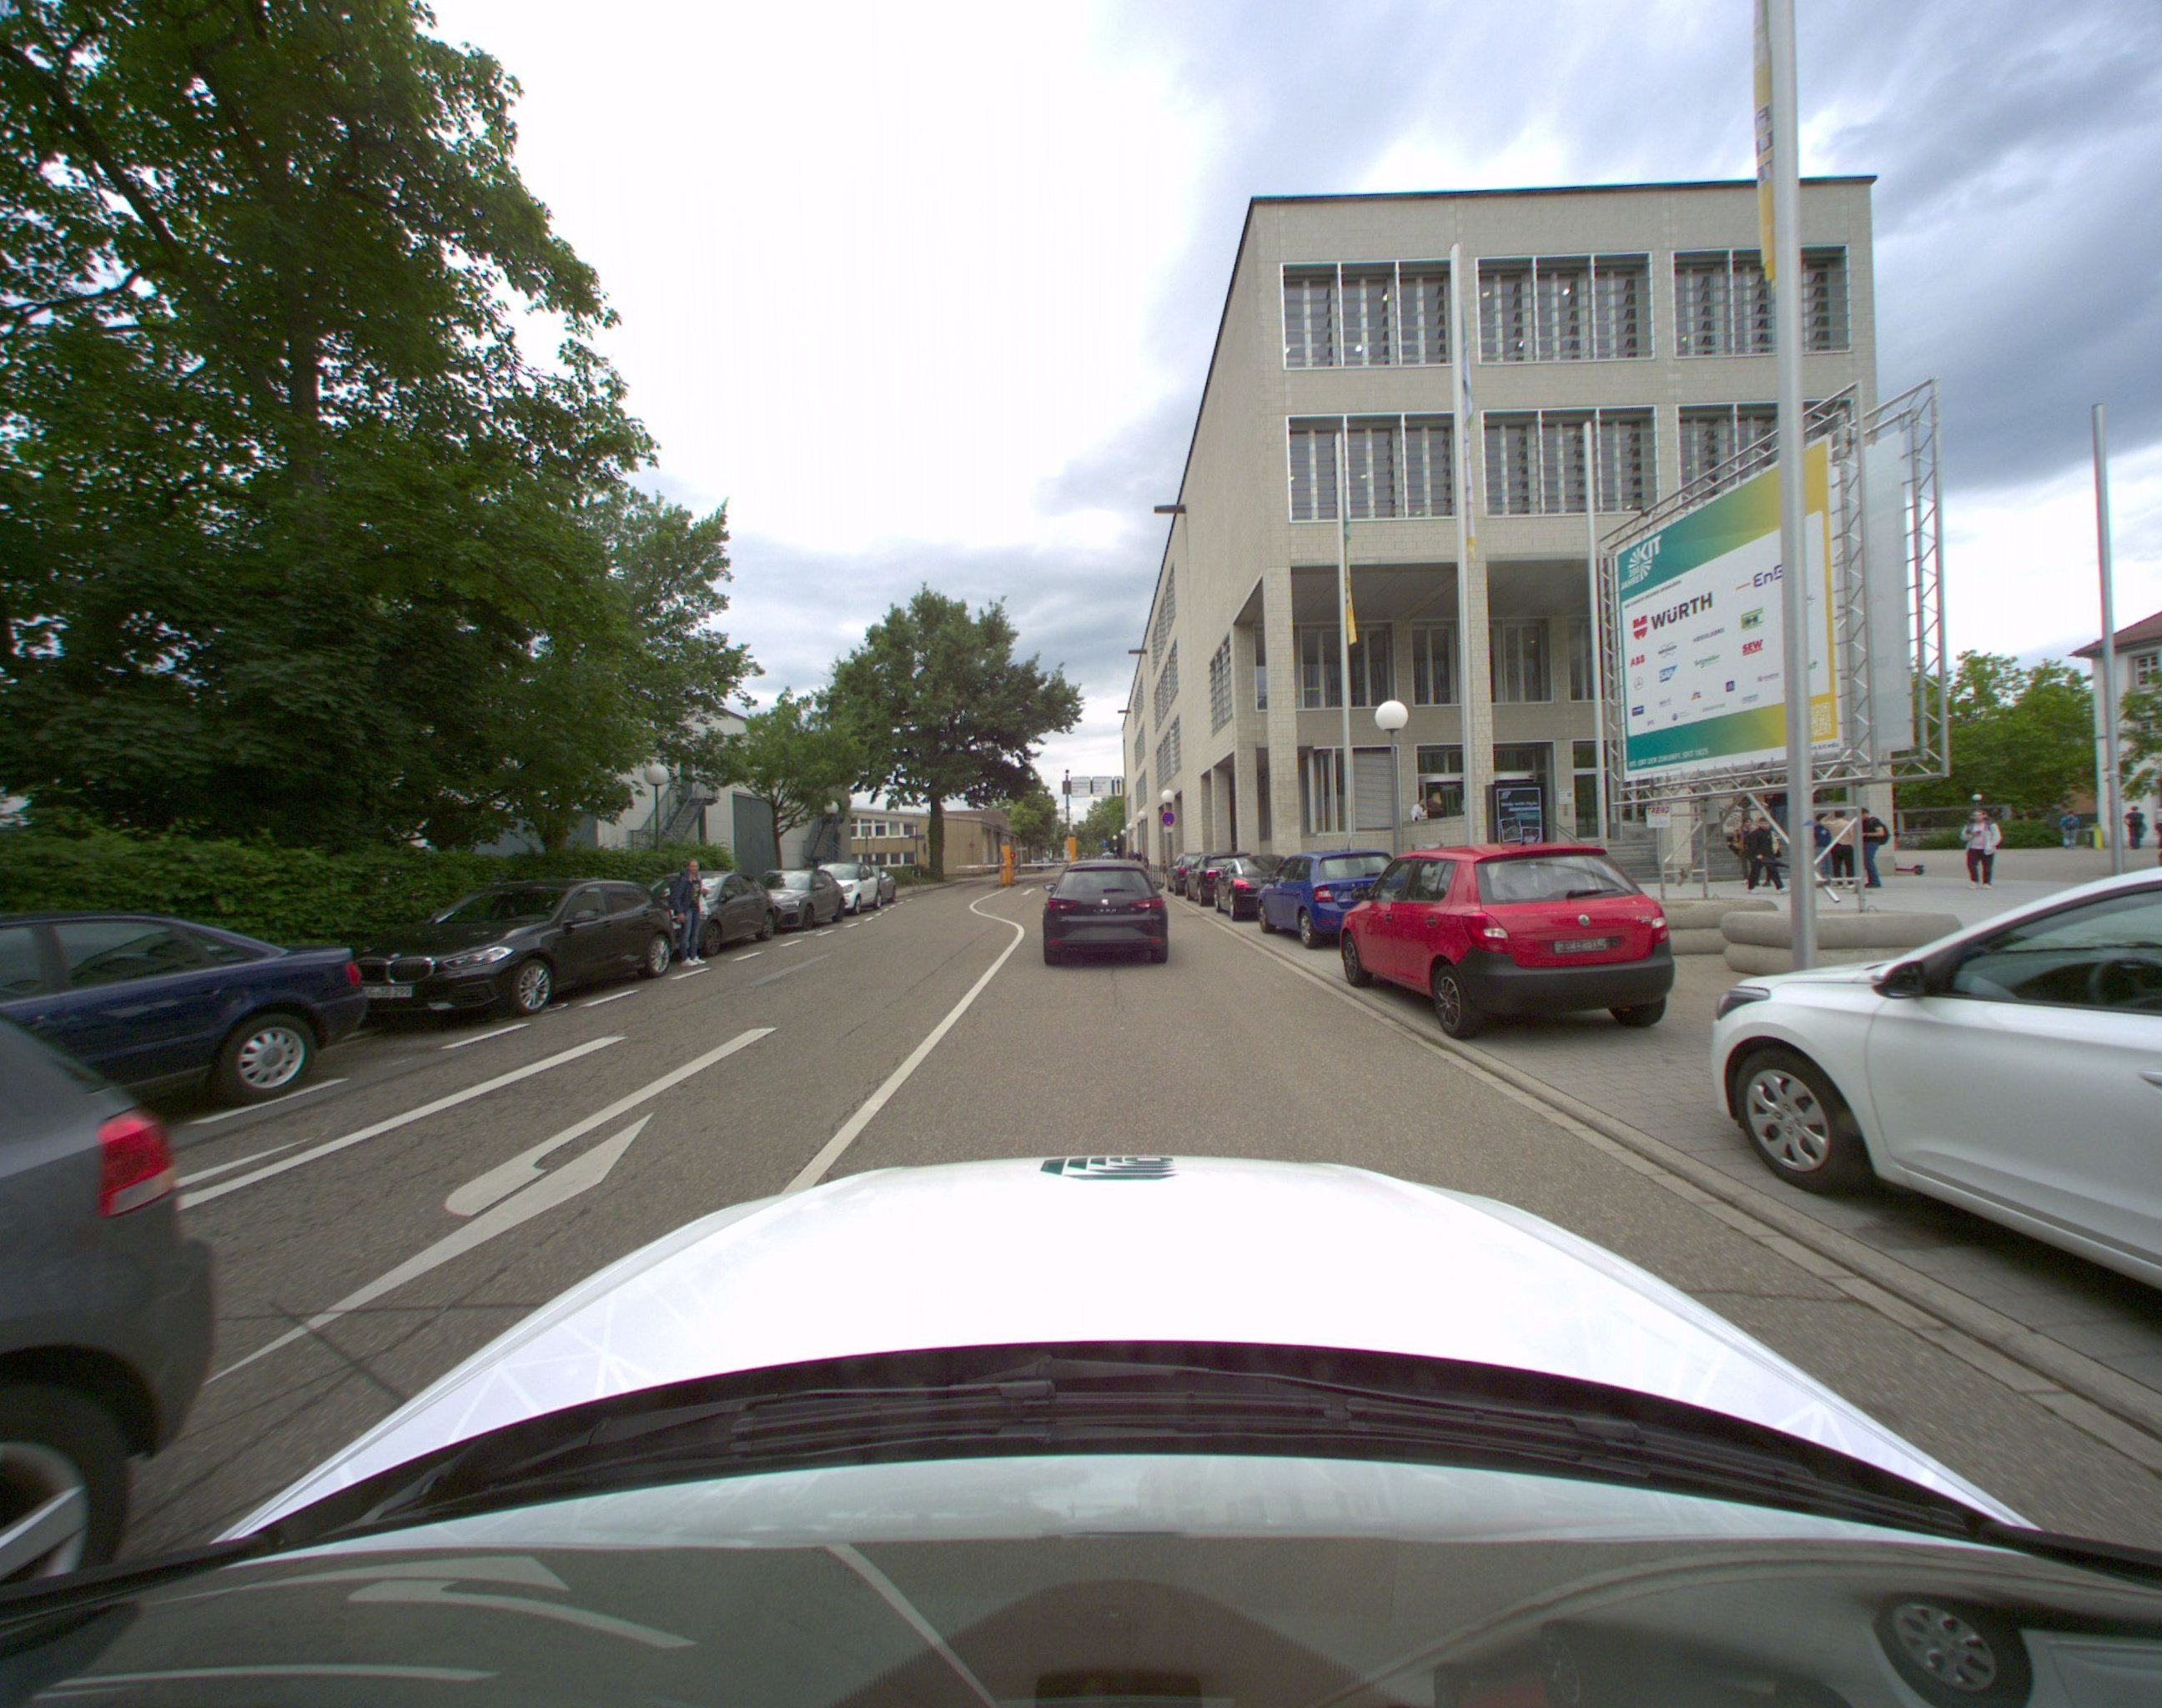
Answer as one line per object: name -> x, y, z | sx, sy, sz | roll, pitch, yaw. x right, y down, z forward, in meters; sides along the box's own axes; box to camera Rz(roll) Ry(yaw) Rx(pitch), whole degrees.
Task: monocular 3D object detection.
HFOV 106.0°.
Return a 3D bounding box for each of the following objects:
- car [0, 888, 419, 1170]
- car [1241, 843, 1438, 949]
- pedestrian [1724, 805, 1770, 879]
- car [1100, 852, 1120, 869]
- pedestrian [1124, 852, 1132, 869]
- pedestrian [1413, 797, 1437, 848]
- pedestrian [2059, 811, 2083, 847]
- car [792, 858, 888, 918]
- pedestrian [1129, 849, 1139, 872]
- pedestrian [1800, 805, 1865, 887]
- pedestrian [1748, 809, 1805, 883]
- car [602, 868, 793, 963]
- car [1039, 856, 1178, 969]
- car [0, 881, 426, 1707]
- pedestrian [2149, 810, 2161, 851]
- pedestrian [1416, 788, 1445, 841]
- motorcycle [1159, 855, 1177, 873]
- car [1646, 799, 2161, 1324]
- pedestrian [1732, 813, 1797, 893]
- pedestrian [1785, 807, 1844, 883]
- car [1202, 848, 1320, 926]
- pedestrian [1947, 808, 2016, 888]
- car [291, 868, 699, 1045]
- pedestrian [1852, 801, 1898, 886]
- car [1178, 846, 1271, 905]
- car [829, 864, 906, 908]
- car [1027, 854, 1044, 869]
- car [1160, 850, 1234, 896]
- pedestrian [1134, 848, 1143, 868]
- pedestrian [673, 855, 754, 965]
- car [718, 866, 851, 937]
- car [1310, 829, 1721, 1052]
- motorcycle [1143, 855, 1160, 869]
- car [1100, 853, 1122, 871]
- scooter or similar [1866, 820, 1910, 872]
car -> -6.638, 1.018, 4.719 | 1.789, 1.408, 4.341 | -3, 0, 4
car -> 4.073, 0.607, 13.647 | 1.691, 1.411, 4.372 | -3, -1, -3
pedestrian -> 16.946, -0.299, 20.727 | 0.588, 1.841, 0.620 | -2, -1, 1
car -> 3.144, 0.694, 88.645 | 1.987, 1.622, 4.428 | -4, 0, 1
pedestrian -> 4.745, 0.674, 81.999 | 0.693, 1.714, 0.490 | -1, 0, 4
pedestrian -> 11.283, -1.032, 26.703 | 0.624, 1.658, 0.811 | 0, 2, 17
pedestrian -> 46.618, -1.177, 38.346 | 0.669, 1.641, 0.655 | -2, -1, -36
car -> -7.242, 0.959, 24.845 | 1.710, 1.586, 3.877 | -2, 0, 0
pedestrian -> 4.055, 0.521, 62.109 | 0.608, 1.714, 0.575 | -3, 0, 5
pedestrian -> 16.907, -0.169, 18.329 | 0.763, 1.785, 0.733 | -2, -1, -13
pedestrian -> 16.710, -0.186, 19.576 | 0.774, 1.715, 0.604 | -2, -1, 1
car -> -7.106, 1.061, 15.579 | 1.756, 1.471, 3.824 | -2, 0, 0
car -> 0.367, 0.767, 12.685 | 1.776, 1.419, 4.129 | -2, 0, 0
car -> -2.719, 0.848, 0.129 | 1.777, 1.497, 4.168 | -2, 0, 0
pedestrian -> 44.013, -0.961, 32.964 | 0.659, 1.641, 0.665 | -2, -1, -3
pedestrian -> 11.068, -1.242, 25.790 | 0.797, 1.658, 0.635 | 0, 2, 25
motorcycle -> 6.267, 0.691, 58.656 | 0.560, 1.148, 2.230 | 0, 2, 25
car -> 3.898, 0.544, 2.350 | 1.854, 1.453, 3.859 | -2, 0, 1
pedestrian -> 14.813, -0.021, 17.674 | 0.752, 1.669, 0.705 | -2, -1, 1
pedestrian -> 17.637, -0.208, 19.601 | 0.720, 1.785, 0.733 | -2, -1, -13
car -> 4.002, 0.664, 18.826 | 1.841, 1.442, 4.421 | -2, 1, 2
pedestrian -> 19.164, -0.139, 17.353 | 0.727, 1.640, 0.937 | 0, 2, 31
car -> -6.855, 1.050, 10.325 | 1.792, 1.561, 4.530 | -2, 0, 0
pedestrian -> 17.946, -0.238, 18.405 | 0.783, 1.865, 0.596 | -2, -1, -41
car -> 4.042, 0.569, 23.717 | 1.812, 1.443, 4.519 | -4, 0, 0
car -> -7.793, 1.121, 30.109 | 1.813, 1.389, 4.191 | -2, 0, -2
car -> -5.348, 0.871, 96.117 | 1.765, 1.601, 3.999 | -2, 0, 0
car -> 4.101, 0.664, 29.553 | 1.987, 1.452, 4.923 | -2, -1, 1
pedestrian -> 5.114, 0.372, 72.545 | 0.726, 1.698, 0.587 | -1, 2, -5
pedestrian -> -5.905, 0.866, 13.141 | 0.735, 1.661, 0.969 | -3, 1, 2
car -> -7.057, 1.066, 19.824 | 1.758, 1.411, 4.007 | -2, 0, -1
car -> 3.717, 0.613, 7.983 | 1.706, 1.473, 4.274 | -4, 0, 1
motorcycle -> 6.531, 0.688, 75.245 | 0.752, 1.148, 2.678 | 0, 2, 25
car -> 3.093, 0.832, 84.114 | 1.987, 1.622, 4.427 | -3, -1, 0
scooter or similar -> 22.078, -0.225, 22.278 | 1.495, 1.369, 0.402 | -2, 2, -28
